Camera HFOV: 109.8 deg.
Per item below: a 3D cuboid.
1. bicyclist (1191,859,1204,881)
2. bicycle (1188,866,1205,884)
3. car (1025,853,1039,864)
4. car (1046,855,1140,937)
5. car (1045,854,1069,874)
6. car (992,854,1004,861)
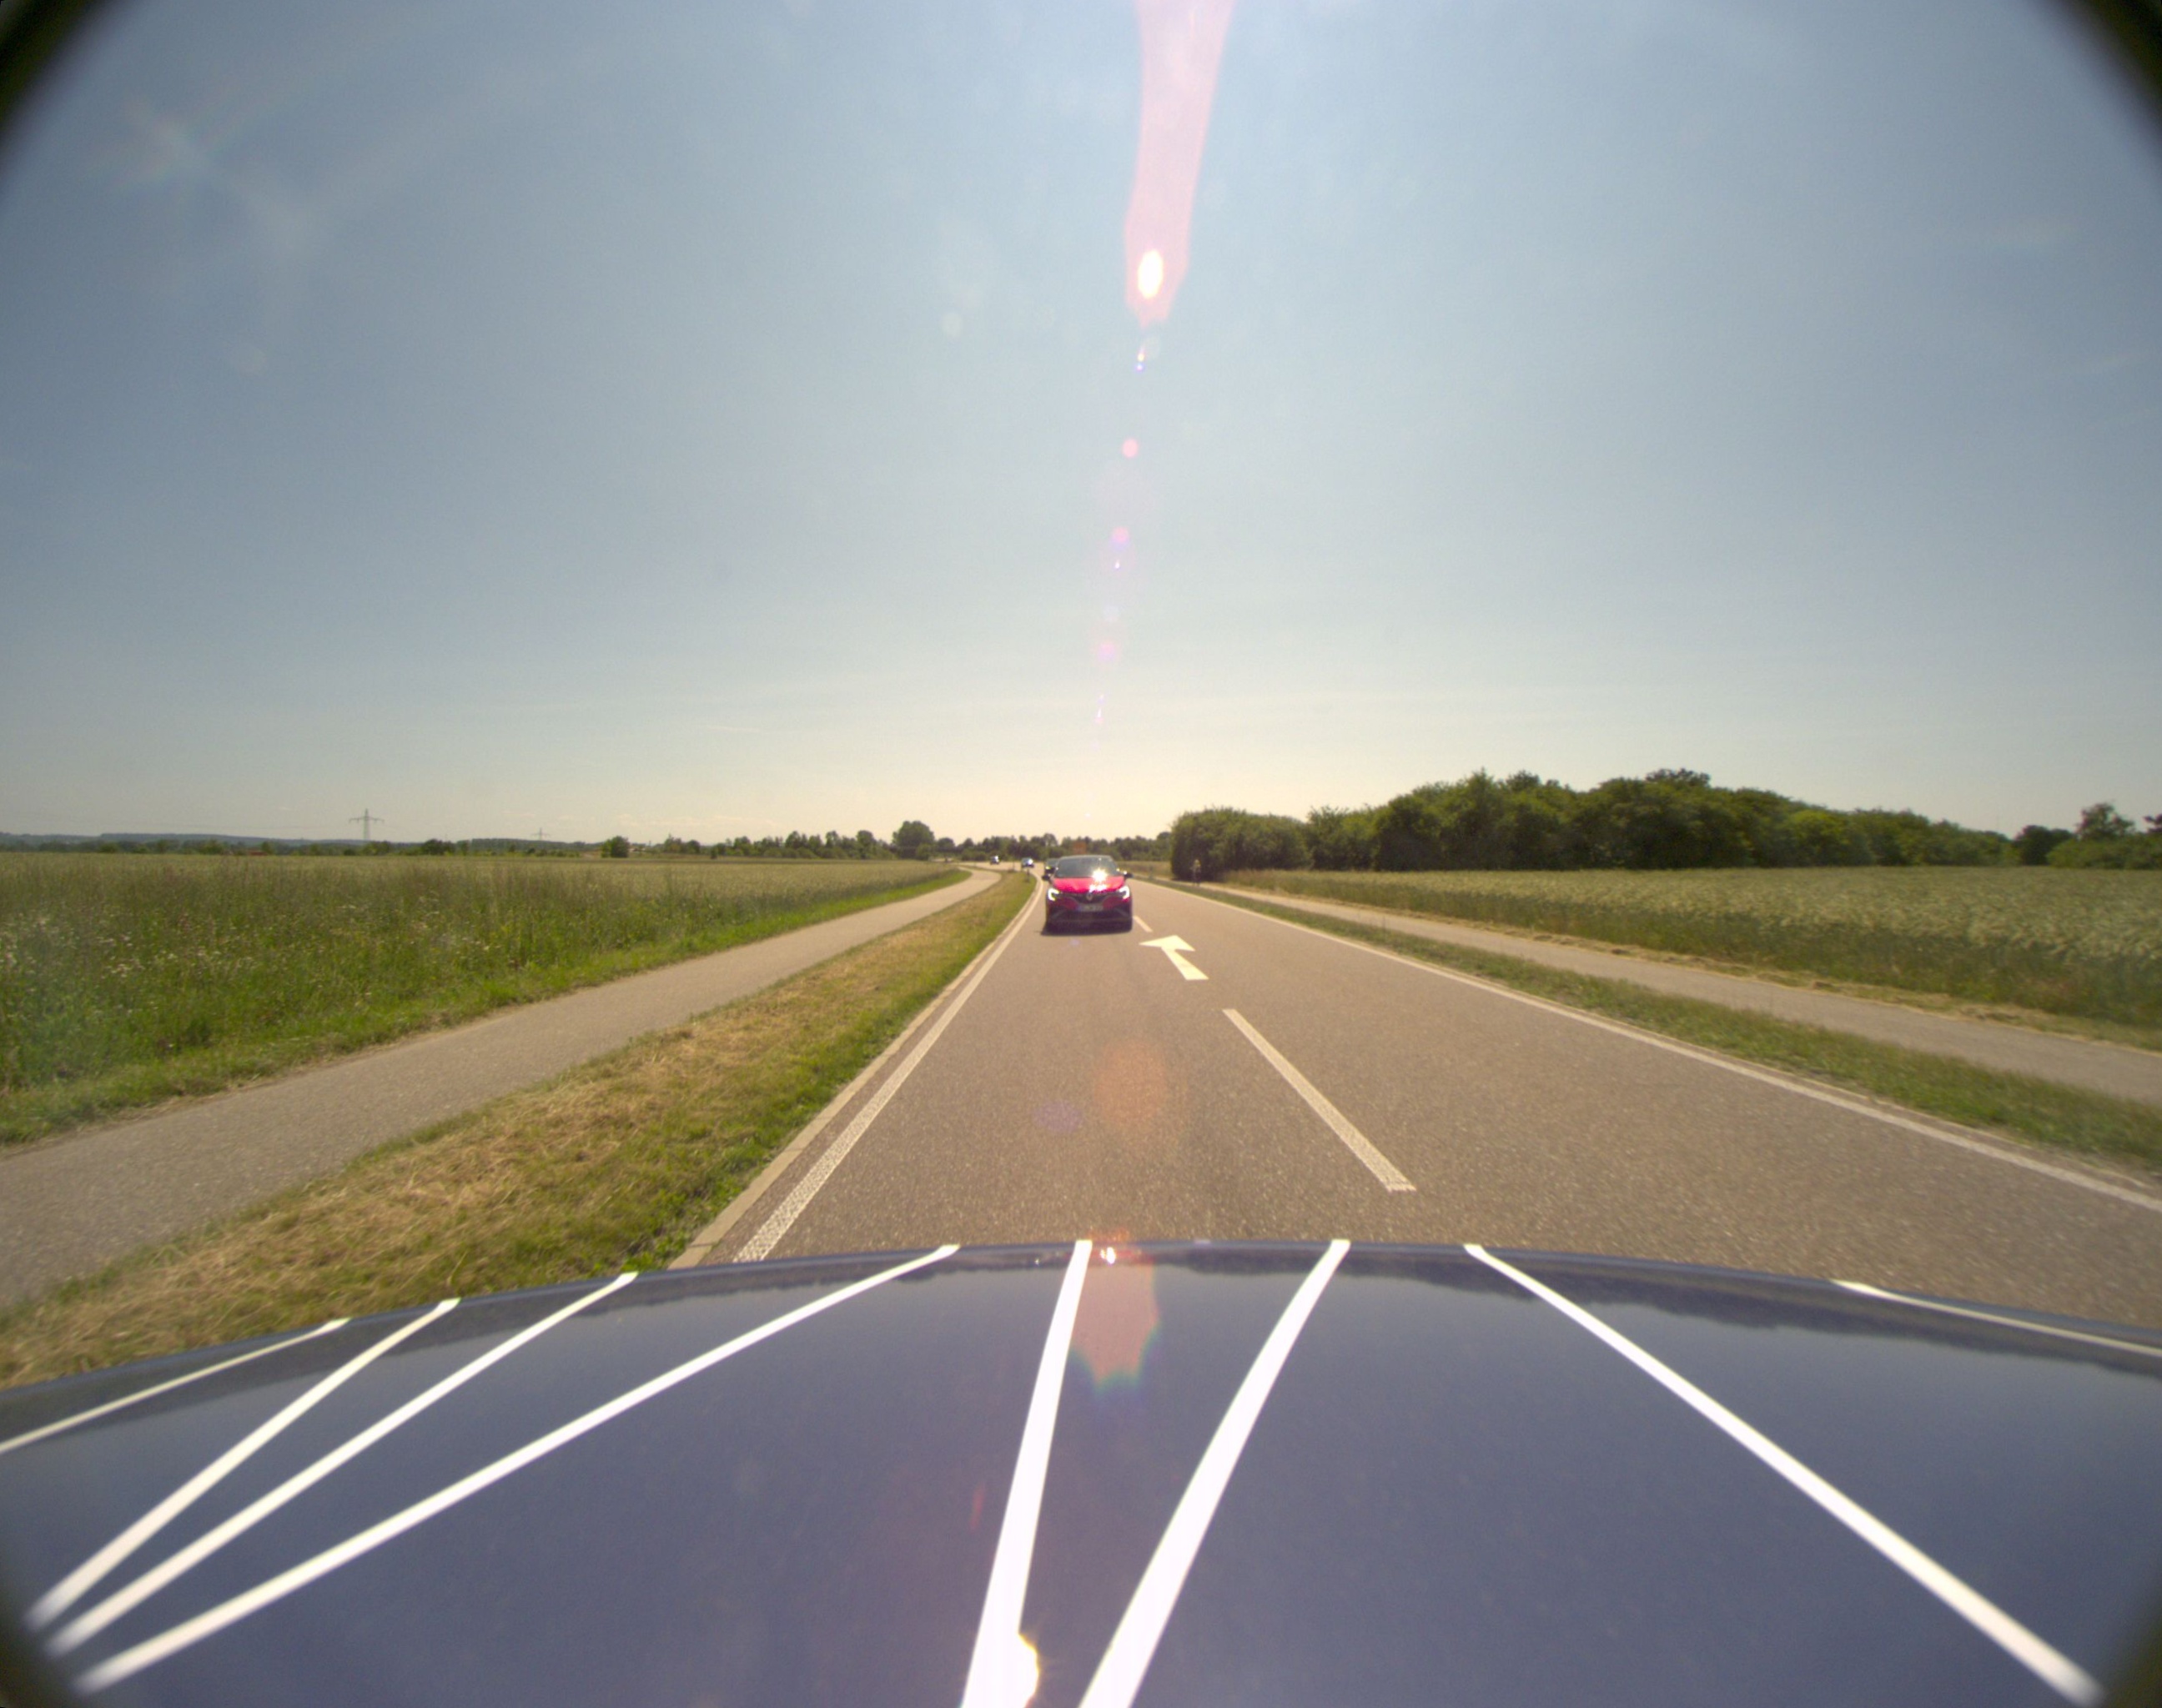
[{"bbox_3d":[7.910,1.064,51.579,0.665,1.430,0.822,-1,1,-3],"label":"bicyclist"},{"bbox_3d":[7.847,1.410,51.557,0.696,1.169,1.963,0,0,-5],"label":"bicycle"},{"bbox_3d":[-7.445,0.679,114.961,1.984,1.587,5.399,-1,0,-6],"label":"car"},{"bbox_3d":[0.196,0.841,17.596,1.837,1.587,4.721,-1,0,-1],"label":"car"},{"bbox_3d":[-2.126,0.826,66.094,1.984,1.587,5.400,-1,0,-3],"label":"car"},{"bbox_3d":[-18.350,0.733,167.903,1.985,1.587,5.396,-1,0,-11],"label":"car"}]
